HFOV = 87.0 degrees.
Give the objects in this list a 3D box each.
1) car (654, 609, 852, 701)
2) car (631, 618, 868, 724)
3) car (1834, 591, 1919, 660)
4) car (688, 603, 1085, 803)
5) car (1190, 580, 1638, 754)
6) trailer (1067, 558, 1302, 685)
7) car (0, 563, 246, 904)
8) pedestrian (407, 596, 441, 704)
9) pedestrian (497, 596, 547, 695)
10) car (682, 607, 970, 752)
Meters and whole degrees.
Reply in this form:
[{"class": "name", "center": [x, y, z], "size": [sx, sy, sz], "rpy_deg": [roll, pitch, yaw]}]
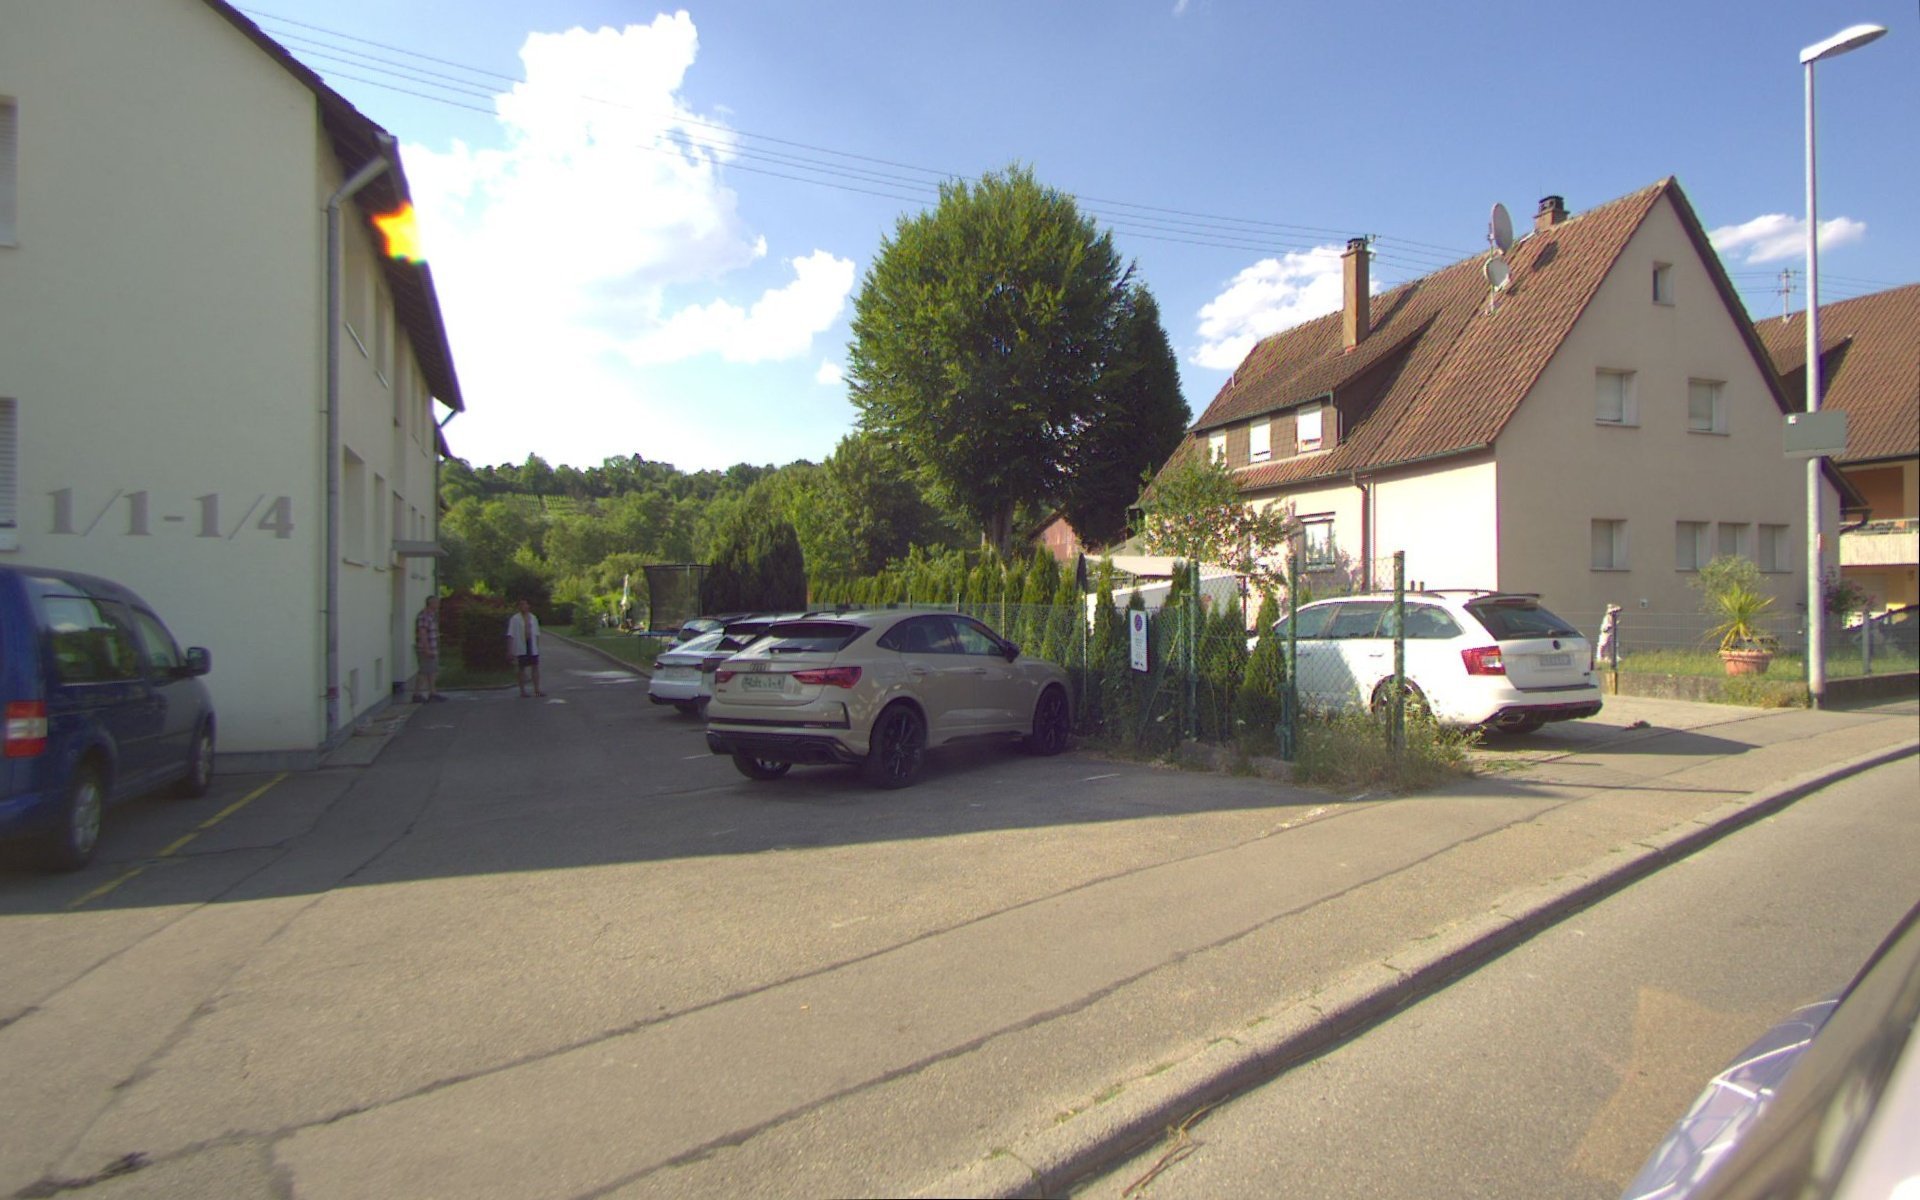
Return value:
[{"class": "car", "center": [-3.887, 0.971, 19.518], "size": [1.668, 1.520, 3.632], "rpy_deg": [1, 1, 33]}, {"class": "car", "center": [-3.242, 1.036, 16.187], "size": [1.668, 1.426, 3.632], "rpy_deg": [0, 0, 33]}, {"class": "car", "center": [20.793, 0.539, 21.097], "size": [1.406, 1.453, 3.707], "rpy_deg": [1, -1, -16]}, {"class": "car", "center": [-0.481, 0.837, 10.044], "size": [1.687, 1.539, 4.225], "rpy_deg": [-3, -2, 33]}, {"class": "car", "center": [4.533, 0.568, 10.973], "size": [1.695, 1.476, 4.487], "rpy_deg": [0, 0, -23]}, {"class": "trailer", "center": [3.392, 0.328, 15.368], "size": [3.149, 1.774, 1.528], "rpy_deg": [1, -1, -20]}, {"class": "car", "center": [-6.561, 0.677, 7.036], "size": [1.730, 1.810, 4.221], "rpy_deg": [3, -2, -24]}, {"class": "pedestrian", "center": [-8.772, 0.805, 16.576], "size": [0.403, 1.726, 0.537], "rpy_deg": [1, 0, -21]}, {"class": "pedestrian", "center": [-7.816, 0.798, 18.051], "size": [0.434, 1.726, 0.667], "rpy_deg": [1, 0, 38]}, {"class": "car", "center": [-1.591, 0.902, 13.110], "size": [1.752, 1.564, 3.632], "rpy_deg": [-2, -1, 33]}]
